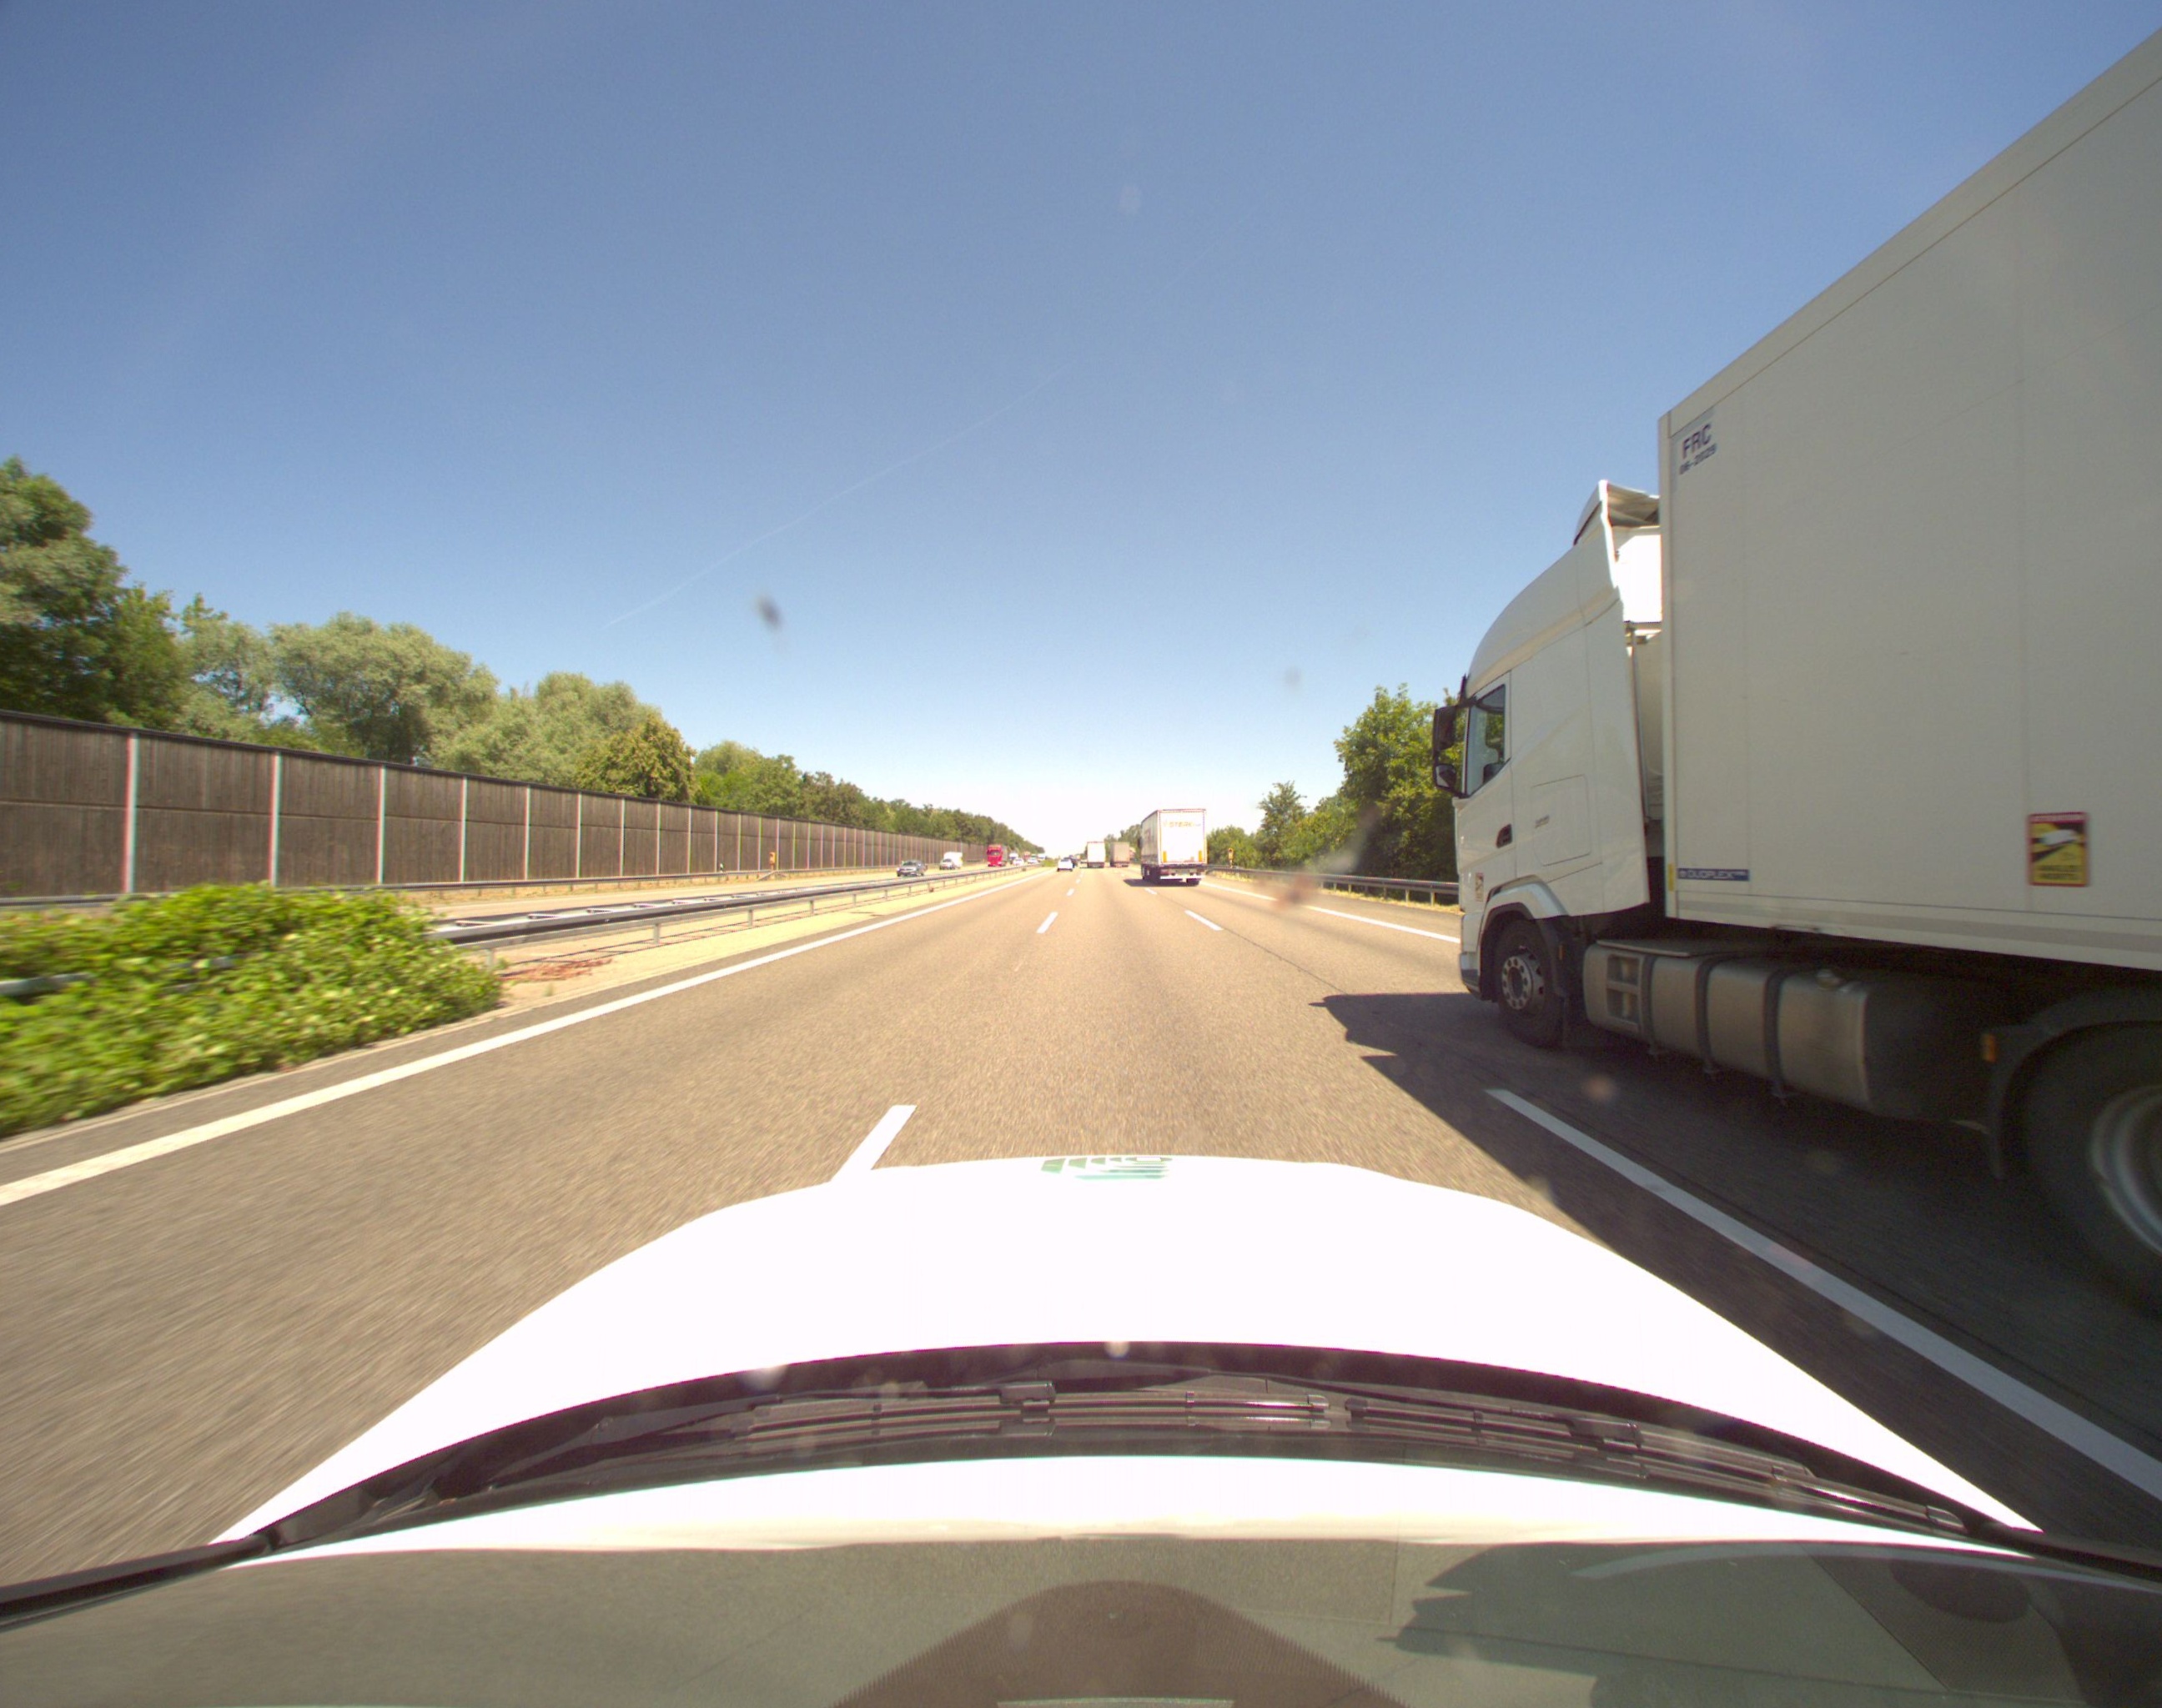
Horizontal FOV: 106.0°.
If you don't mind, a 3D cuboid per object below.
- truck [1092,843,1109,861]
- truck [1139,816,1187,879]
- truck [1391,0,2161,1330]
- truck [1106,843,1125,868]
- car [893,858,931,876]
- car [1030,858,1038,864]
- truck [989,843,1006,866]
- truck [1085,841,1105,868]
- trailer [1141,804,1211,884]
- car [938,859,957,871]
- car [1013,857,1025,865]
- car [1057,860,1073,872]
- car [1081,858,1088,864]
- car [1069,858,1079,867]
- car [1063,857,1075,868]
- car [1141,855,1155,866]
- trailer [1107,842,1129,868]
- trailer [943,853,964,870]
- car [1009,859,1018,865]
[{"bbox_3d":[5.061,-0.470,215.461,3.367,4.304,11.433,3,0,-4],"label":"truck"},{"bbox_3d":[5.503,-0.390,55.802,2.698,4.088,6.965,0,0,1],"label":"truck"},{"bbox_3d":[4.742,-0.603,5.597,2.948,4.106,6.208,-1,0,1],"label":"truck"},{"bbox_3d":[5.894,0.261,141.521,2.684,4.216,7.832,1,-1,-2],"label":"truck"},{"bbox_3d":[-15.485,1.173,74.901,2.116,1.522,5.984,-1,0,2],"label":"car"},{"bbox_3d":[-11.797,1.801,205.339,1.798,1.544,4.247,-1,0,1],"label":"car"},{"bbox_3d":[-15.574,0.100,152.638,2.350,4.076,7.153,-1,0,1],"label":"truck"},{"bbox_3d":[2.172,0.141,128.131,2.699,4.086,13.467,1,-1,-1],"label":"truck"},{"bbox_3d":[5.418,-0.467,49.025,2.698,4.088,14.150,0,0,0],"label":"trailer"},{"bbox_3d":[-19.152,1.542,116.989,1.893,1.711,4.904,-1,0,-1],"label":"car"},{"bbox_3d":[-11.228,1.241,148.254,1.893,1.521,4.418,-1,0,0],"label":"car"},{"bbox_3d":[-1.912,1.408,96.663,1.850,1.486,3.998,-1,0,-1],"label":"car"},{"bbox_3d":[0.921,1.781,211.141,1.850,1.617,3.997,-1,0,-2],"label":"car"},{"bbox_3d":[-1.350,1.662,152.557,1.850,1.617,3.997,-1,0,-2],"label":"car"},{"bbox_3d":[-1.935,1.351,128.549,1.849,1.617,3.999,-1,0,-1],"label":"car"},{"bbox_3d":[9.947,0.988,121.016,1.849,1.617,4.000,-1,0,0],"label":"car"},{"bbox_3d":[6.073,0.216,136.033,2.696,4.216,13.201,1,-1,-2],"label":"trailer"},{"bbox_3d":[-19.163,1.143,122.601,2.124,2.476,6.267,-1,0,0],"label":"trailer"},{"bbox_3d":[-16.586,1.959,200.821,1.913,1.375,4.581,0,0,0],"label":"car"}]
